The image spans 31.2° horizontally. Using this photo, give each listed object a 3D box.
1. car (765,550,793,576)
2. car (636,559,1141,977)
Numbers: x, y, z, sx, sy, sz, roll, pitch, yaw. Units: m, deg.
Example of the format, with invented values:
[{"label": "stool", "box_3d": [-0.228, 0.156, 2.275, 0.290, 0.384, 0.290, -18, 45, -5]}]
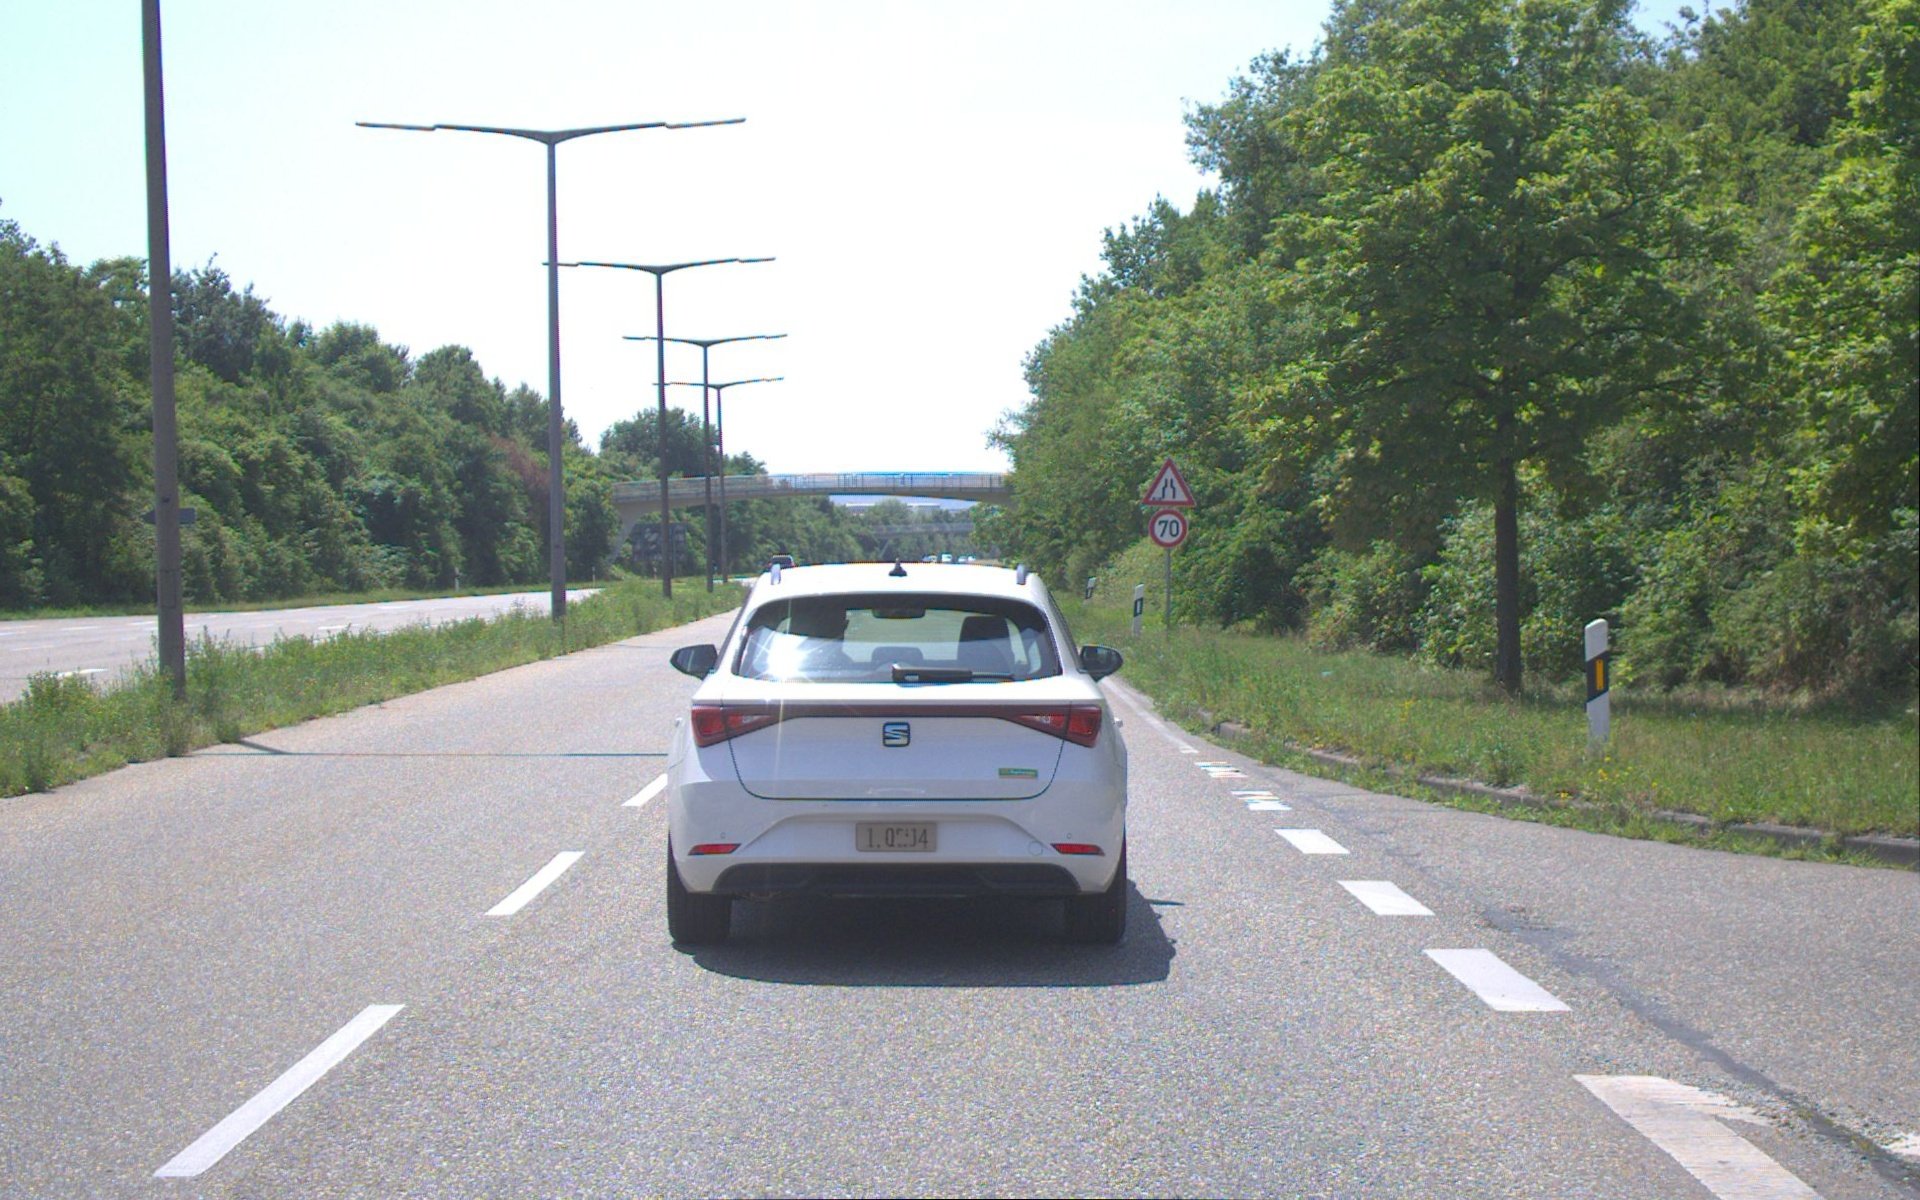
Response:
[{"label": "car", "box_3d": [-12.393, -2.538, 235.975, 1.854, 1.703, 4.001, -1, 1, -2]}, {"label": "car", "box_3d": [-0.242, 0.577, 13.836, 1.734, 1.424, 3.694, 1, 0, 0]}]
